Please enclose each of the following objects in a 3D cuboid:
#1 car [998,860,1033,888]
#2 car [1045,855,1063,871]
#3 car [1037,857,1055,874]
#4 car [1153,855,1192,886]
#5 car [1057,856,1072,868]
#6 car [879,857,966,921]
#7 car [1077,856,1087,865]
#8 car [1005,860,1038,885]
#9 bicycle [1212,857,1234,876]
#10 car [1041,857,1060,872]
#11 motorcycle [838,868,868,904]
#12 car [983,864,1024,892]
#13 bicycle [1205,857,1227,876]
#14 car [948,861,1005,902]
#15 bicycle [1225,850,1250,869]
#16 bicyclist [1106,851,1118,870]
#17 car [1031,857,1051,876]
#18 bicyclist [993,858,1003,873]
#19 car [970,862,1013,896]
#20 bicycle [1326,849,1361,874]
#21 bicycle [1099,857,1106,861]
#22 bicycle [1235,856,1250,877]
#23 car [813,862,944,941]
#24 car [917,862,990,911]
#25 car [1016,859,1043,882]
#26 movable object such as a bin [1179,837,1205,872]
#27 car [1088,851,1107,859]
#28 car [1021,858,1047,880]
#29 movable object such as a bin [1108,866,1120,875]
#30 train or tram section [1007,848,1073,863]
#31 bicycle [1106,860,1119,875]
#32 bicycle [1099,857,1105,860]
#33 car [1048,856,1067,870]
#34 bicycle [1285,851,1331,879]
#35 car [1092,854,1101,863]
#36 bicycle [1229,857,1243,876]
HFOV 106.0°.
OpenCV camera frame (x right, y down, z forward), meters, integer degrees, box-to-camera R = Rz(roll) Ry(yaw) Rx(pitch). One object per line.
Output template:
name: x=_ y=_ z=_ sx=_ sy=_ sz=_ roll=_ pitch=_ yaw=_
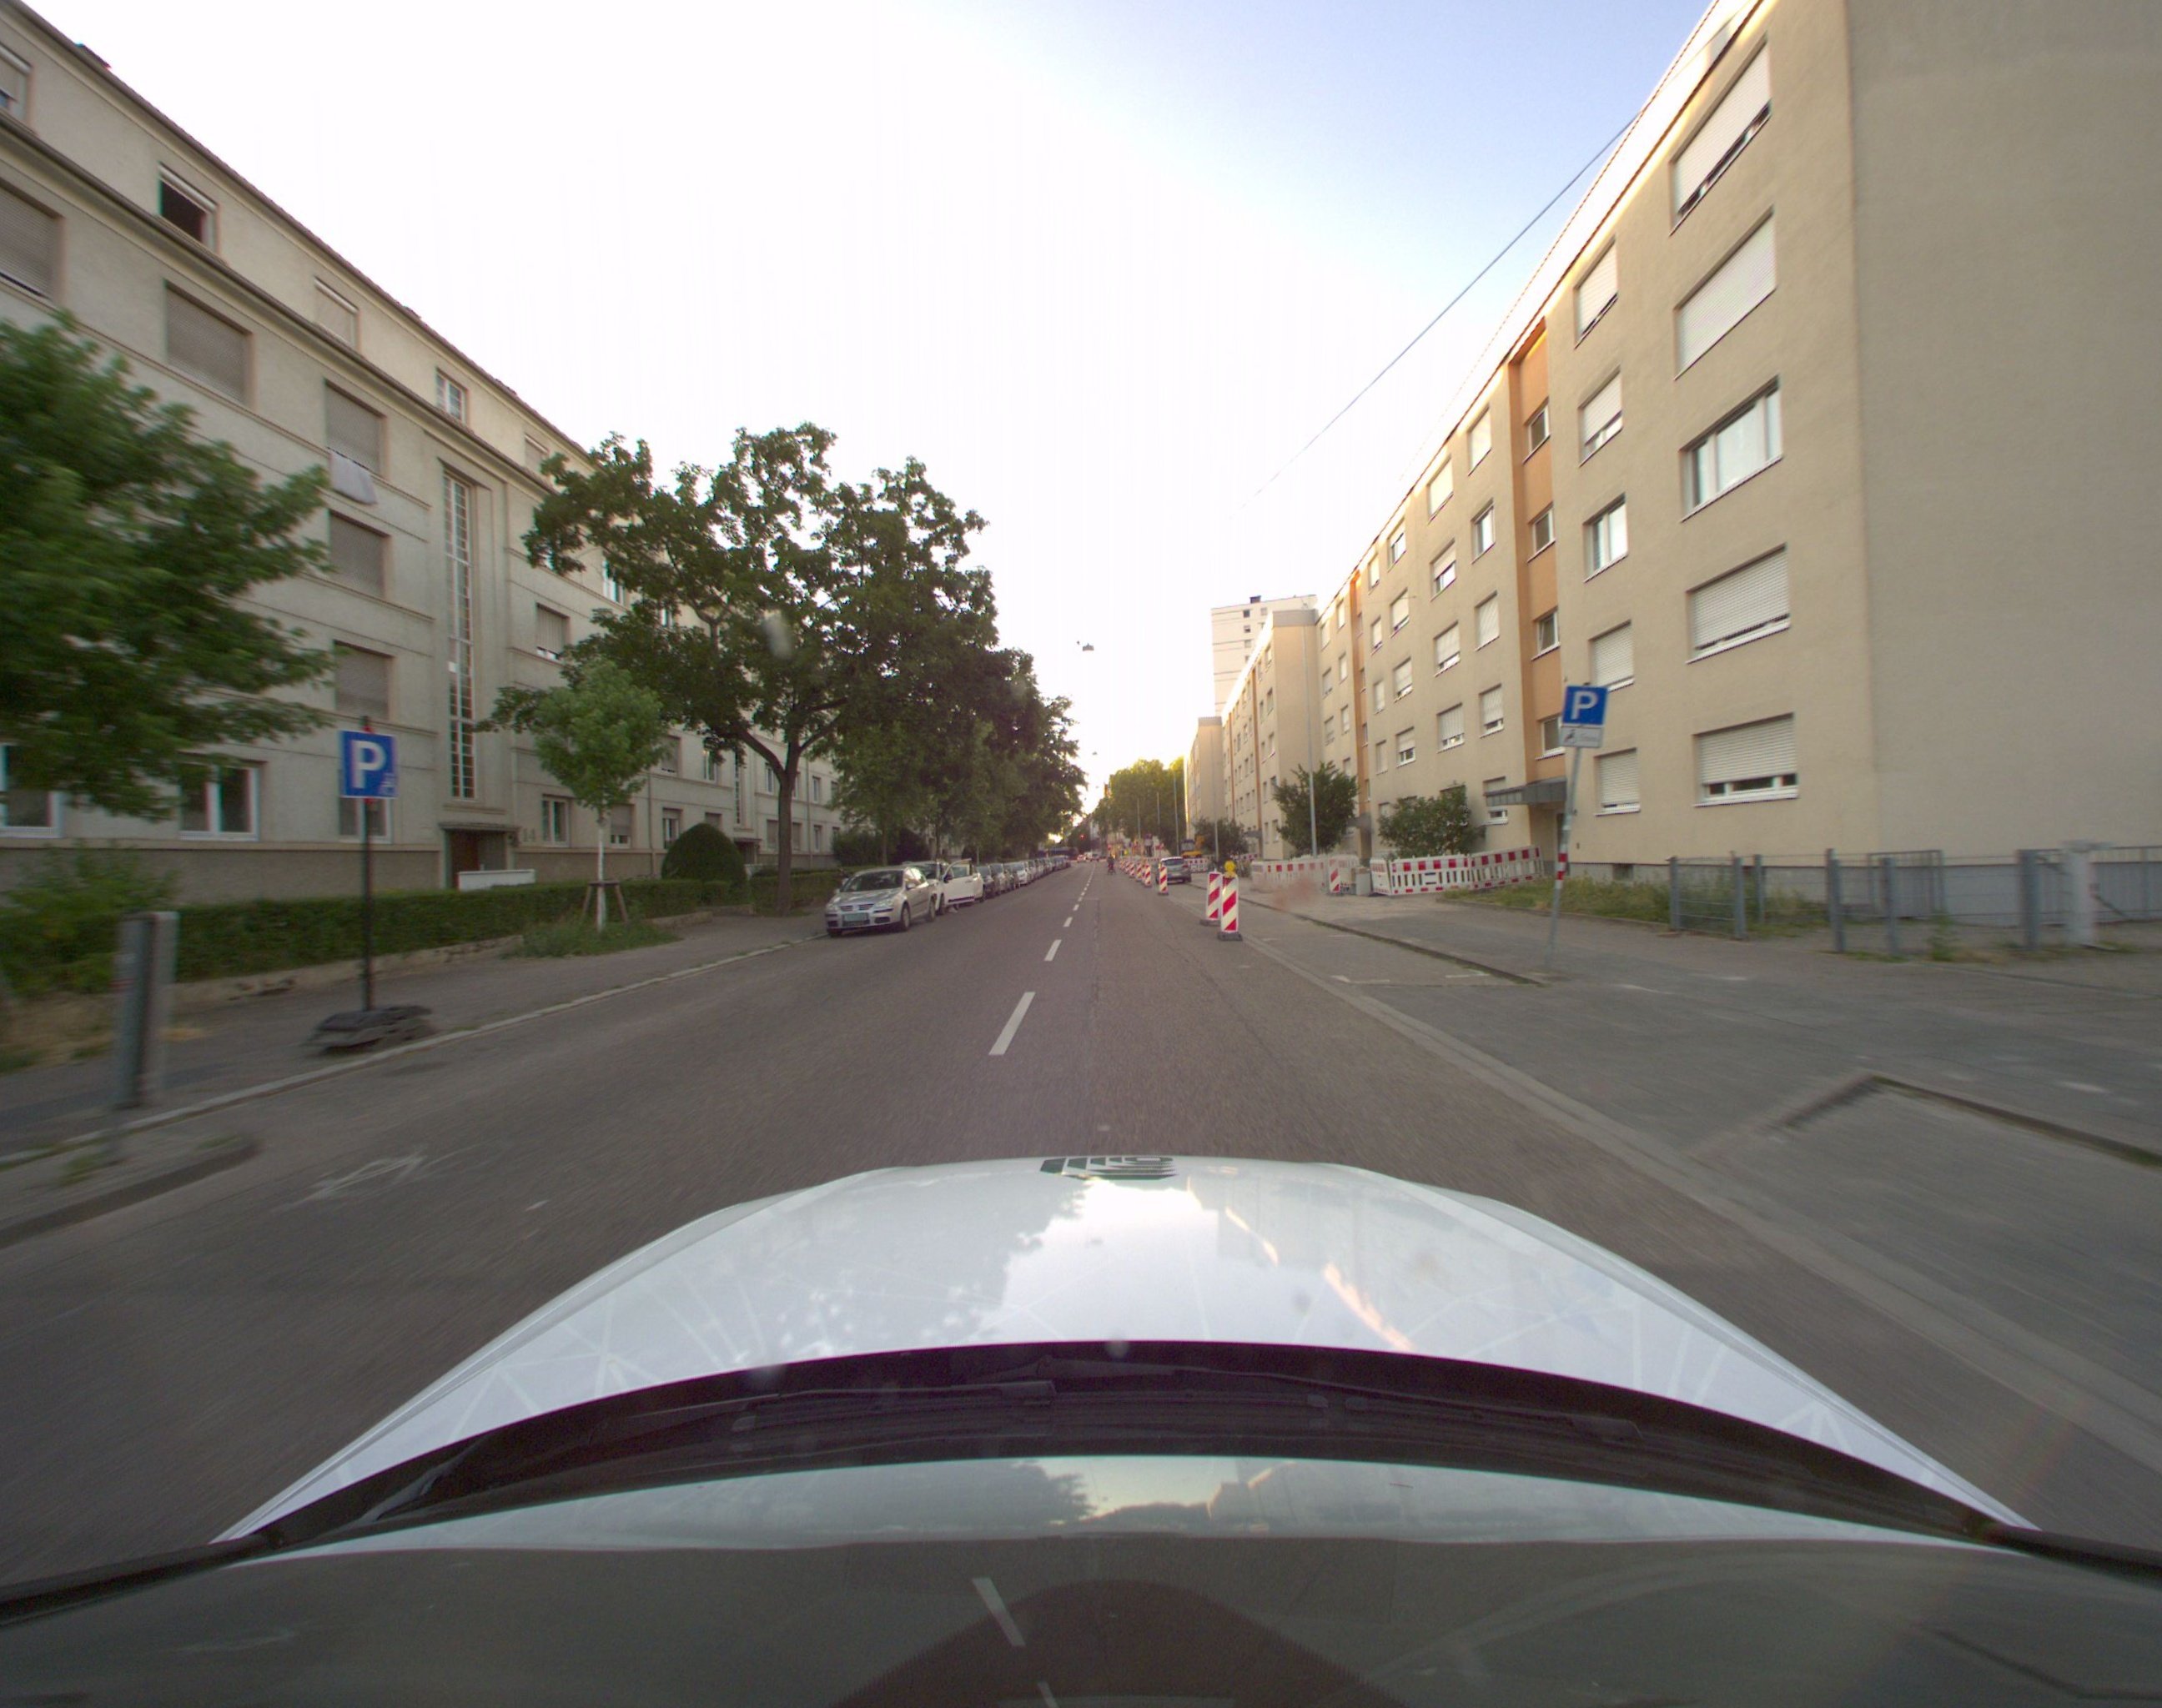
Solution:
car: x=-3.944 y=1.199 z=49.643 sx=1.687 sy=1.459 sz=4.143 roll=-5 pitch=0 yaw=-1
car: x=-3.049 y=1.038 z=92.199 sx=1.701 sy=1.600 sz=4.117 roll=-5 pitch=0 yaw=1
car: x=-3.545 y=1.166 z=83.389 sx=1.586 sy=1.539 sz=4.204 roll=-5 pitch=0 yaw=-1
car: x=5.162 y=0.903 z=46.307 sx=1.769 sy=1.490 sz=4.576 roll=-6 pitch=0 yaw=2
car: x=-2.354 y=1.106 z=117.558 sx=1.947 sy=1.616 sz=4.605 roll=-4 pitch=0 yaw=1
car: x=-4.748 y=0.998 z=24.973 sx=1.747 sy=1.632 sz=4.106 roll=-5 pitch=0 yaw=0
car: x=0.201 y=1.328 z=167.477 sx=1.861 sy=1.585 sz=3.997 roll=-3 pitch=0 yaw=-1
car: x=-3.923 y=1.205 z=54.214 sx=1.686 sy=1.459 sz=4.484 roll=-5 pitch=0 yaw=1
bicycle: x=9.001 y=0.771 z=51.622 sx=0.627 sy=1.172 sz=1.807 roll=-1 pitch=0 yaw=-15
car: x=-3.289 y=1.142 z=87.783 sx=1.701 sy=1.452 sz=3.844 roll=-5 pitch=0 yaw=2
motorcycle: x=-8.910 y=1.230 z=31.943 sx=0.584 sy=1.325 sz=1.829 roll=-2 pitch=0 yaw=1
car: x=-4.201 y=1.272 z=44.603 sx=1.669 sy=1.331 sz=4.580 roll=-5 pitch=0 yaw=0
bicycle: x=8.473 y=0.771 z=51.125 sx=0.557 sy=1.172 sz=1.805 roll=-1 pitch=0 yaw=-18
car: x=-4.389 y=1.128 z=34.804 sx=1.747 sy=1.479 sz=4.677 roll=-5 pitch=0 yaw=0
bicycle: x=10.909 y=0.375 z=56.715 sx=1.590 sy=1.222 sz=0.484 roll=-2 pitch=0 yaw=-6
bicyclist: x=2.748 y=0.582 z=72.079 sx=0.937 sy=1.582 sz=1.145 roll=-4 pitch=-1 yaw=-2
car: x=-3.615 y=1.141 z=73.831 sx=1.518 sy=1.529 sz=3.163 roll=-5 pitch=0 yaw=0
bicyclist: x=-7.888 y=1.068 z=77.812 sx=0.805 sy=1.404 sz=0.974 roll=-1 pitch=0 yaw=1
car: x=-4.324 y=1.177 z=39.856 sx=1.670 sy=1.459 sz=3.703 roll=-5 pitch=0 yaw=-1
bicycle: x=12.010 y=0.345 z=37.255 sx=1.827 sy=0.921 sz=0.551 roll=-6 pitch=-2 yaw=-40
bicycle: x=6.172 y=1.440 z=237.554 sx=1.909 sy=0.968 sz=0.545 roll=-2 pitch=0 yaw=-1
bicycle: x=9.424 y=0.733 z=47.540 sx=0.553 sy=1.172 sz=1.819 roll=-2 pitch=0 yaw=4
car: x=-4.616 y=1.021 z=19.220 sx=1.745 sy=1.471 sz=4.226 roll=-5 pitch=0 yaw=2
car: x=-4.517 y=1.118 z=29.423 sx=1.745 sy=1.479 sz=3.947 roll=-5 pitch=0 yaw=3
car: x=-3.837 y=1.181 z=60.794 sx=1.584 sy=1.505 sz=3.800 roll=-5 pitch=0 yaw=1
movable object such as a bin: x=8.879 y=0.009 z=65.308 sx=1.924 sy=2.693 sz=2.896 roll=-2 pitch=0 yaw=6
car: x=4.829 y=0.331 z=243.814 sx=5.855 sy=2.288 sz=2.047 roll=-2 pitch=0 yaw=-42
car: x=-3.744 y=1.165 z=64.900 sx=1.583 sy=1.529 sz=2.924 roll=-5 pitch=0 yaw=3
movable object such as a bin: x=2.863 y=1.408 z=70.382 sx=0.937 sy=0.689 sz=0.992 roll=-4 pitch=-1 yaw=-2
train or tram section: x=-11.079 y=0.462 z=220.510 sx=16.869 sy=3.625 sz=5.068 roll=-2 pitch=0 yaw=18
bicycle: x=2.796 y=1.198 z=72.061 sx=0.937 sy=1.172 sz=2.357 roll=-4 pitch=-1 yaw=-2
bicycle: x=6.136 y=1.324 z=237.573 sx=1.909 sy=0.968 sz=0.545 roll=-2 pitch=0 yaw=-1
car: x=-2.777 y=1.067 z=97.002 sx=1.724 sy=1.497 sz=4.277 roll=-4 pitch=0 yaw=5
bicycle: x=10.142 y=0.495 z=36.487 sx=1.804 sy=1.022 sz=0.558 roll=-7 pitch=-1 yaw=2
car: x=3.379 y=0.968 z=181.631 sx=1.860 sy=1.815 sz=3.999 roll=-3 pitch=0 yaw=0
bicycle: x=9.422 y=0.750 z=49.589 sx=0.553 sy=1.172 sz=1.819 roll=-2 pitch=0 yaw=4
